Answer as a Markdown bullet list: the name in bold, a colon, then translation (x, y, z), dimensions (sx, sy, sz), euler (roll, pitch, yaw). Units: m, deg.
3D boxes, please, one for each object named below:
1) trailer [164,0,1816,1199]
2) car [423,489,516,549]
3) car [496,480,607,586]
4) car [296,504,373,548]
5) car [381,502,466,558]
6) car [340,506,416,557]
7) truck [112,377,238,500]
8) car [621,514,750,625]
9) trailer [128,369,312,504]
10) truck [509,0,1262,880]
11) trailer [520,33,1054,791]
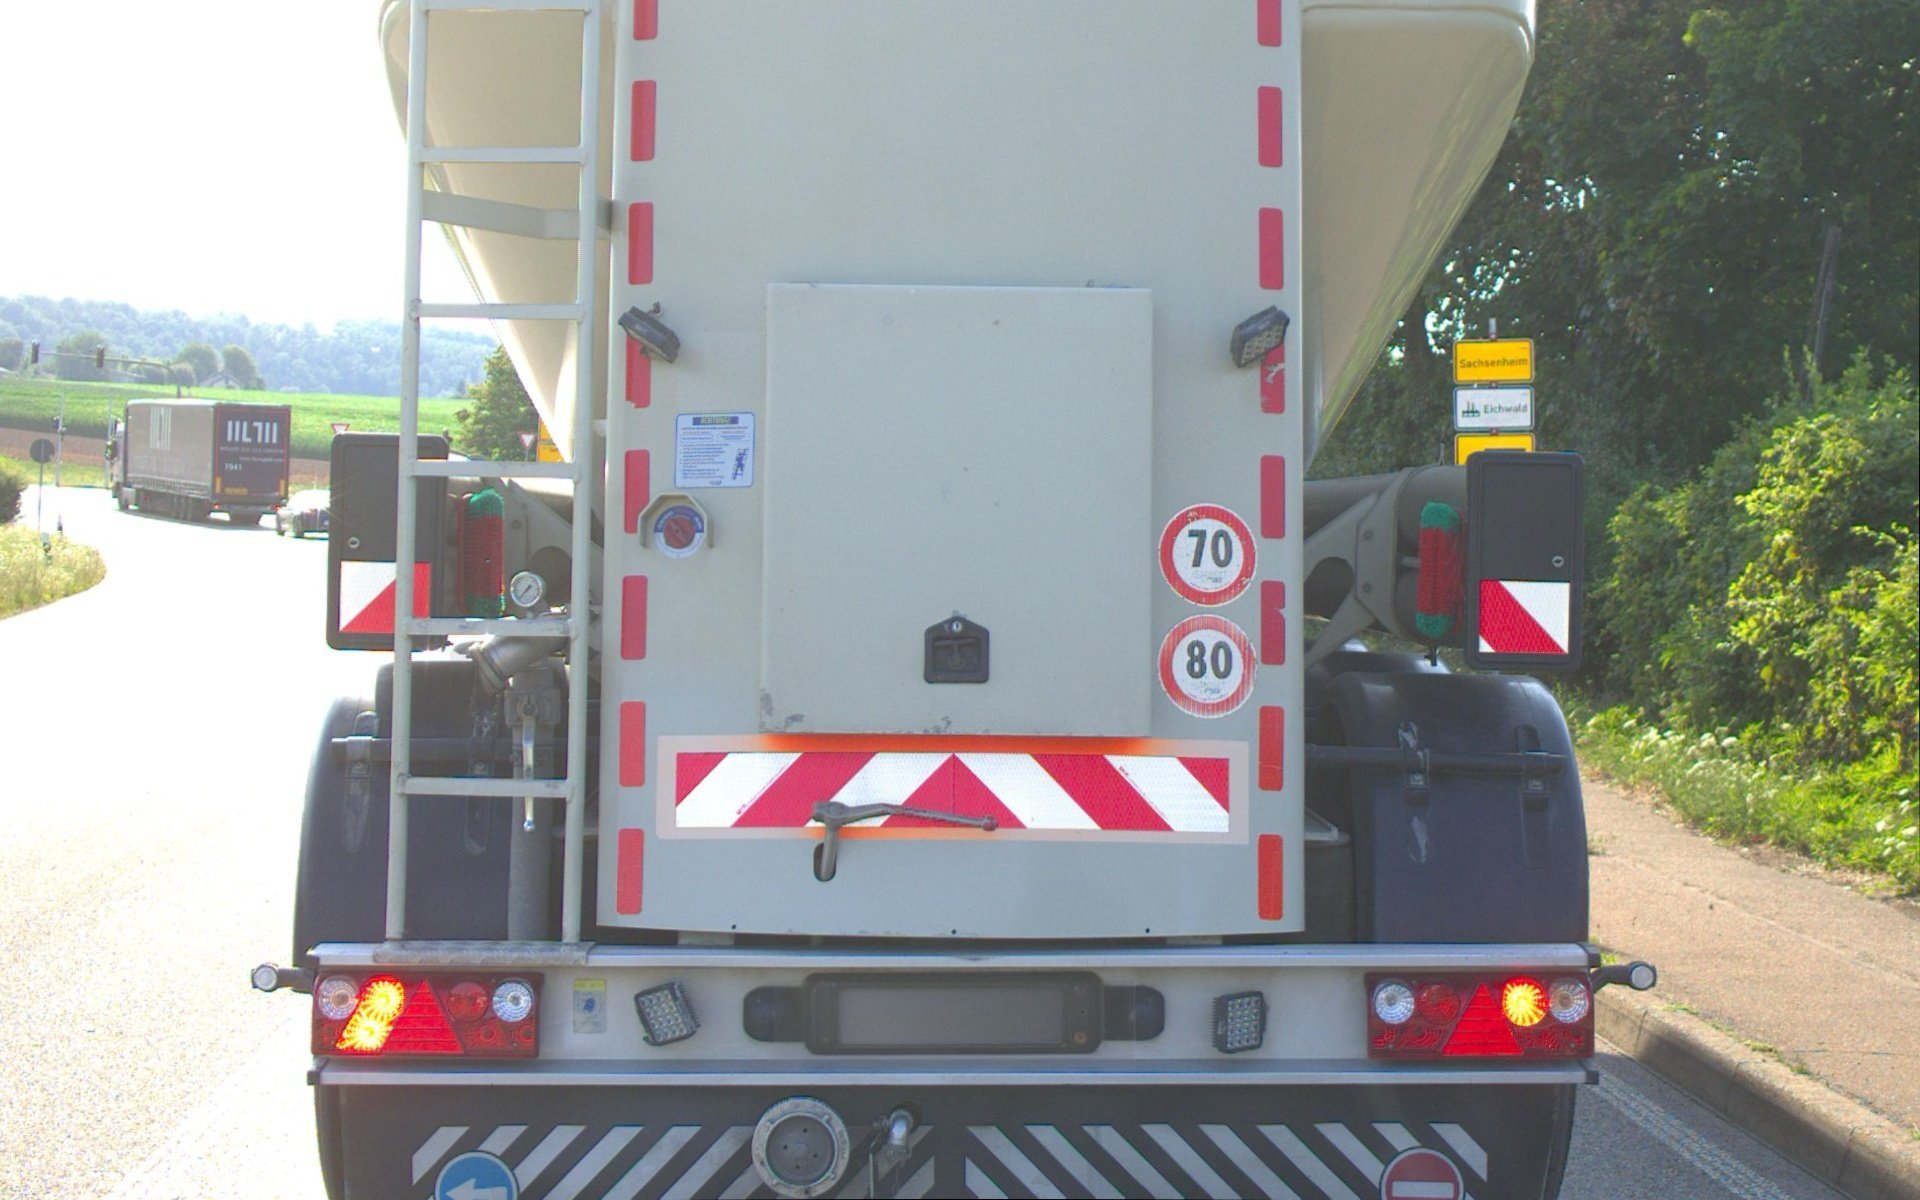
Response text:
- **trailer**: translation (-0.170, -0.924, 11.045), dimensions (2.909, 3.992, 9.931), euler (1, 1, -3)
- **car**: translation (-11.713, -1.938, 81.973), dimensions (1.580, 1.336, 3.427), euler (2, 1, -18)
- **car**: translation (-8.081, -1.336, 67.747), dimensions (1.861, 2.007, 3.720), euler (1, 1, -11)
- **car**: translation (-18.667, -2.209, 102.559), dimensions (1.769, 1.201, 3.427), euler (2, 1, -18)
- **car**: translation (-13.768, -1.808, 88.102), dimensions (1.580, 1.336, 3.427), euler (2, 1, -18)
- **car**: translation (-16.305, -1.930, 96.213), dimensions (1.580, 1.336, 3.427), euler (2, 1, -18)
- **truck**: translation (-29.030, -5.932, 126.962), dimensions (3.375, 4.335, 5.707), euler (2, 1, -24)
- **car**: translation (-3.584, -0.427, 45.082), dimensions (1.580, 1.336, 3.426), euler (2, 1, -4)
- **trailer**: translation (-26.003, -5.642, 120.004), dimensions (3.375, 4.335, 14.298), euler (2, 1, -24)
- **truck**: translation (-0.401, -0.949, 15.495), dimensions (2.909, 3.992, 4.060), euler (1, 1, -3)
- **trailer**: translation (-1.074, -1.257, 27.074), dimensions (2.955, 4.300, 14.176), euler (2, 1, -1)
